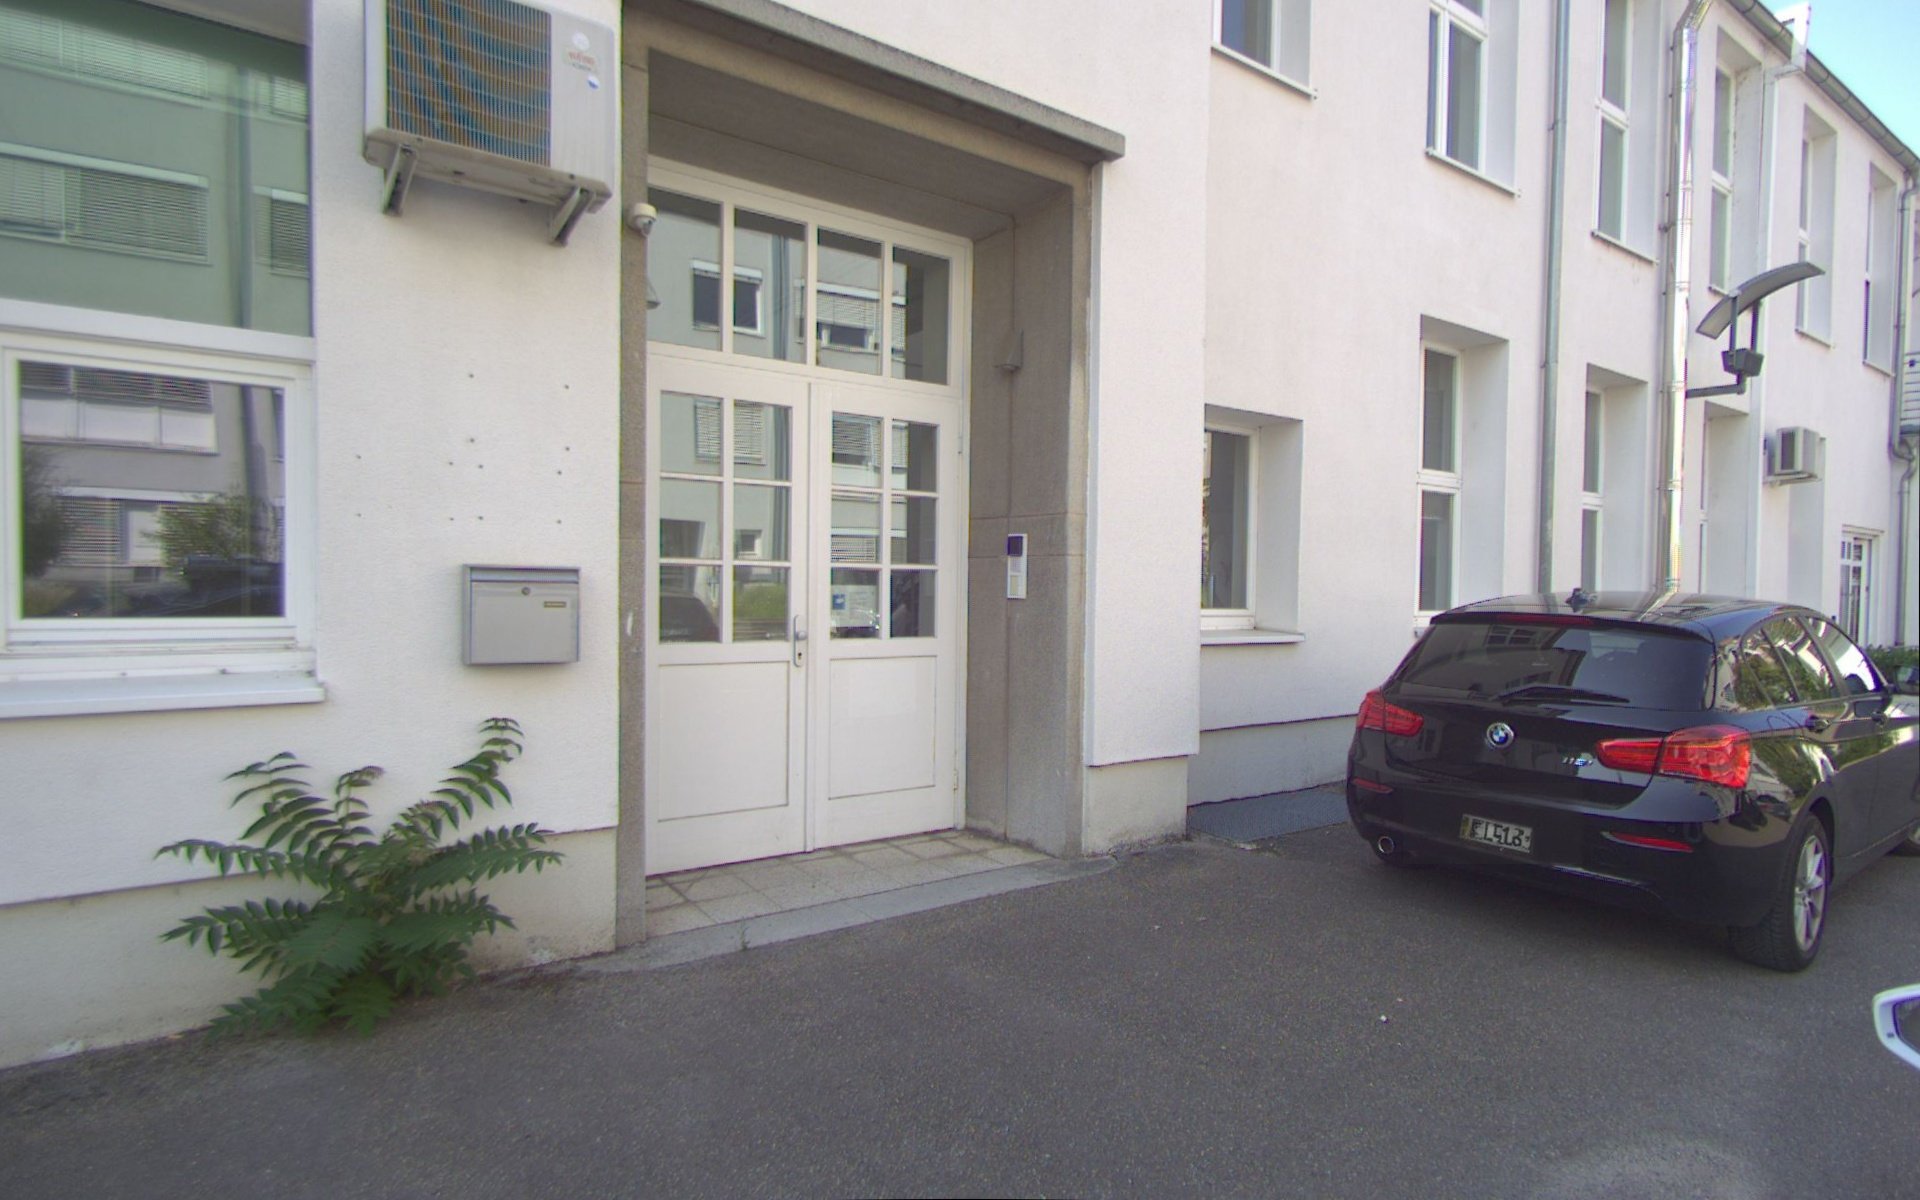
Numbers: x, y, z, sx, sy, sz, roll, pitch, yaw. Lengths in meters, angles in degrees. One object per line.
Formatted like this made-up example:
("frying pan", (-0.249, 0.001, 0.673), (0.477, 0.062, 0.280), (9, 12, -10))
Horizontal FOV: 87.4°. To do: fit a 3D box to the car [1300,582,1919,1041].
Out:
("car", (3.626, 0.697, 5.095), (3.886, 1.478, 1.676), (1, 1, -37))
